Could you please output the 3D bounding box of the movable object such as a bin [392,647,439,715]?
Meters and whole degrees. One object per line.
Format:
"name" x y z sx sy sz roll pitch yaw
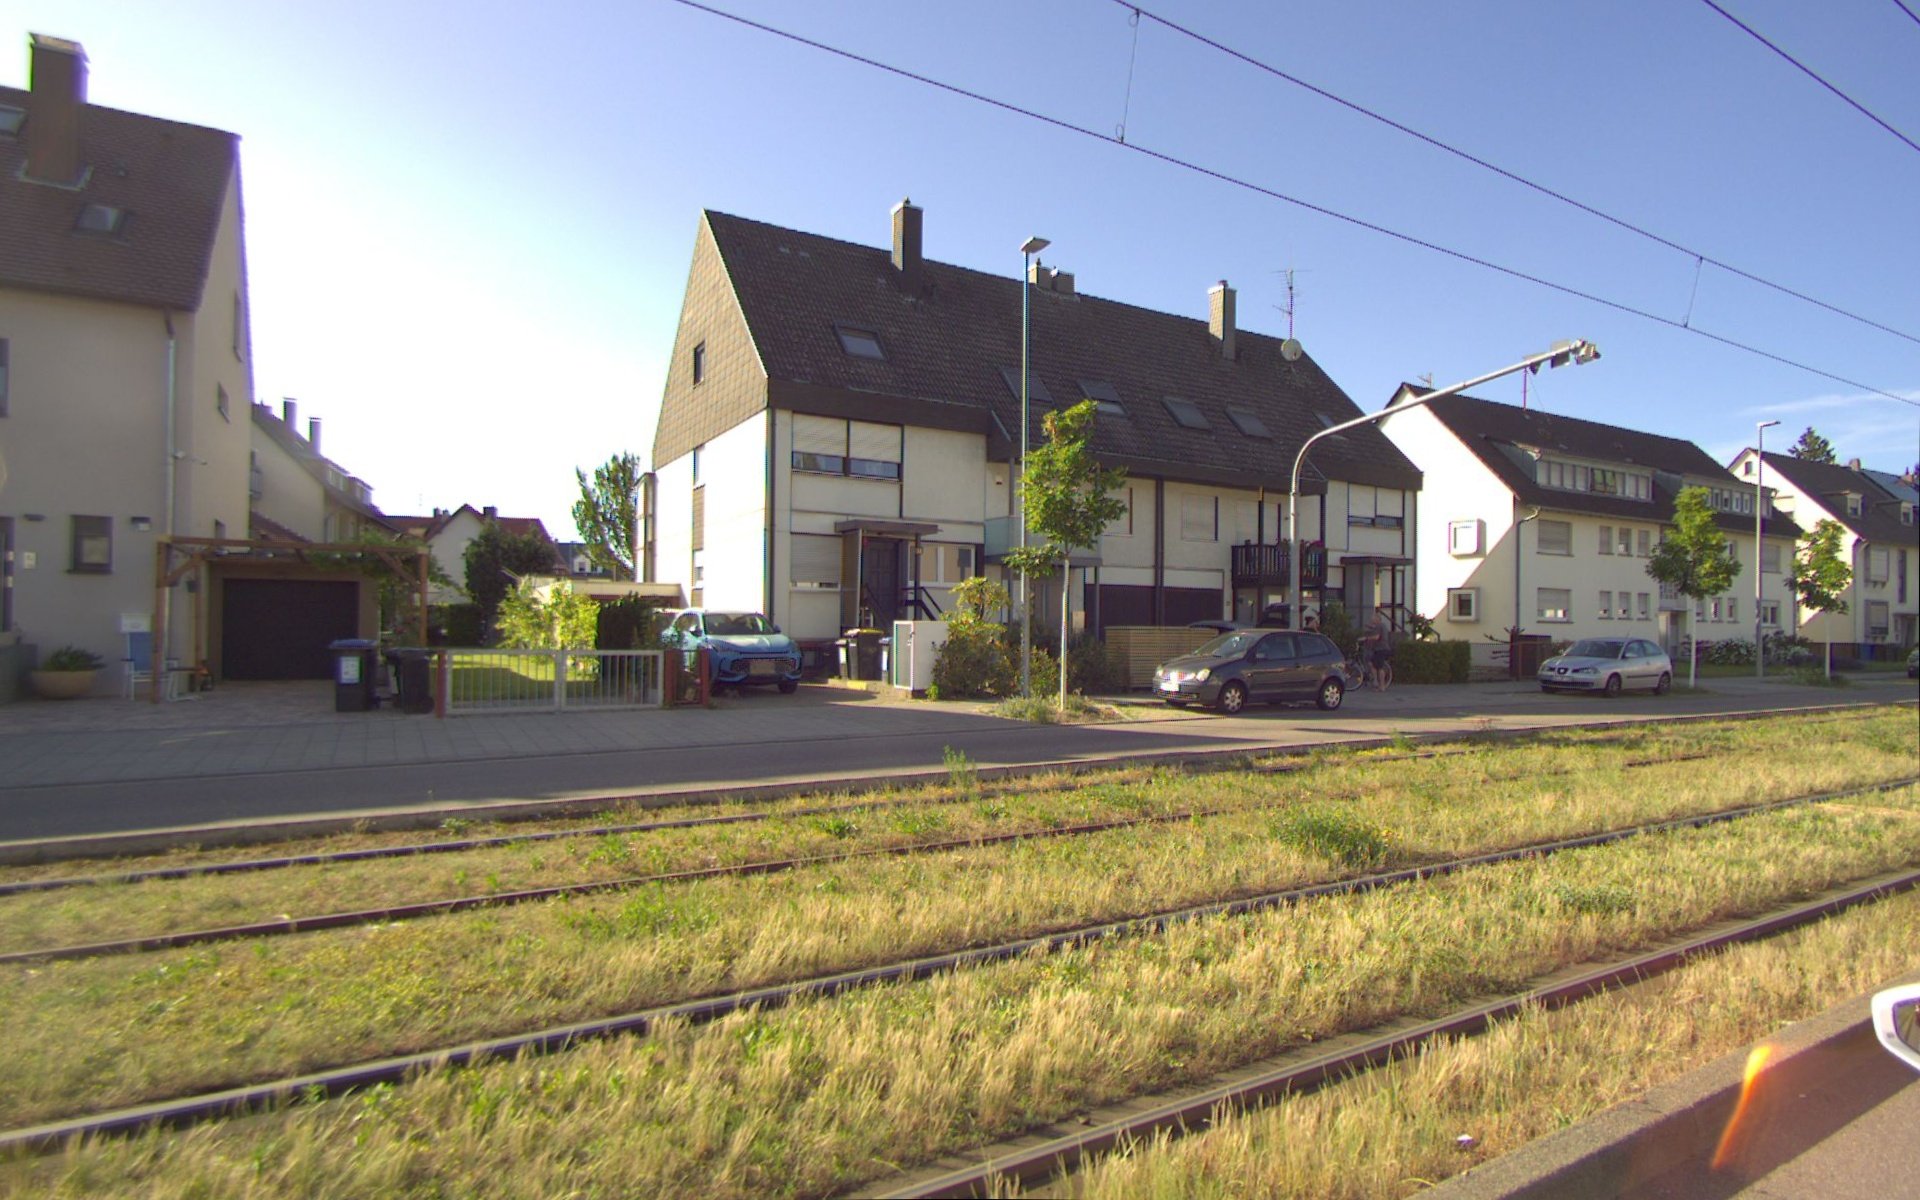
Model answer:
"movable object such as a bin" -8.005 1.188 14.788 0.599 0.959 0.197 0 1 -28

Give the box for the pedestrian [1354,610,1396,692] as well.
"pedestrian" 9.639 1.177 23.348 0.673 1.839 0.610 2 0 -38

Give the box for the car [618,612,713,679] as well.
"car" -7.687 1.117 26.003 1.492 1.614 3.816 1 -1 -30

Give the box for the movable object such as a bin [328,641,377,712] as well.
"movable object such as a bin" -9.027 1.129 14.930 0.599 1.027 0.197 0 1 -28

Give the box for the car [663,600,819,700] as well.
"car" -4.597 0.936 20.600 1.946 1.807 4.372 1 -1 -29

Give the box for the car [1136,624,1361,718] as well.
"car" 5.361 1.248 18.535 4.035 1.532 1.612 1 0 -29

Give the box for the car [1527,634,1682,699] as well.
"car" 16.148 1.621 25.137 4.056 1.455 1.650 1 -1 -31

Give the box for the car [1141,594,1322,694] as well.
"car" 6.679 1.010 25.210 1.765 2.108 4.441 2 2 -28

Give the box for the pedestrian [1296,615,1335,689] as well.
"pedestrian" 8.411 1.216 23.775 0.613 1.710 0.551 2 0 -14

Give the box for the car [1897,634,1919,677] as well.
"car" 36.065 2.050 36.598 4.265 1.492 1.680 2 0 -31

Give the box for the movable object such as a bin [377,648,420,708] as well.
"movable object such as a bin" -8.681 1.204 15.524 0.595 0.898 0.198 0 1 11

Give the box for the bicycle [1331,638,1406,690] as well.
"bicycle" 9.655 1.513 23.710 1.845 1.178 0.476 2 0 -24
